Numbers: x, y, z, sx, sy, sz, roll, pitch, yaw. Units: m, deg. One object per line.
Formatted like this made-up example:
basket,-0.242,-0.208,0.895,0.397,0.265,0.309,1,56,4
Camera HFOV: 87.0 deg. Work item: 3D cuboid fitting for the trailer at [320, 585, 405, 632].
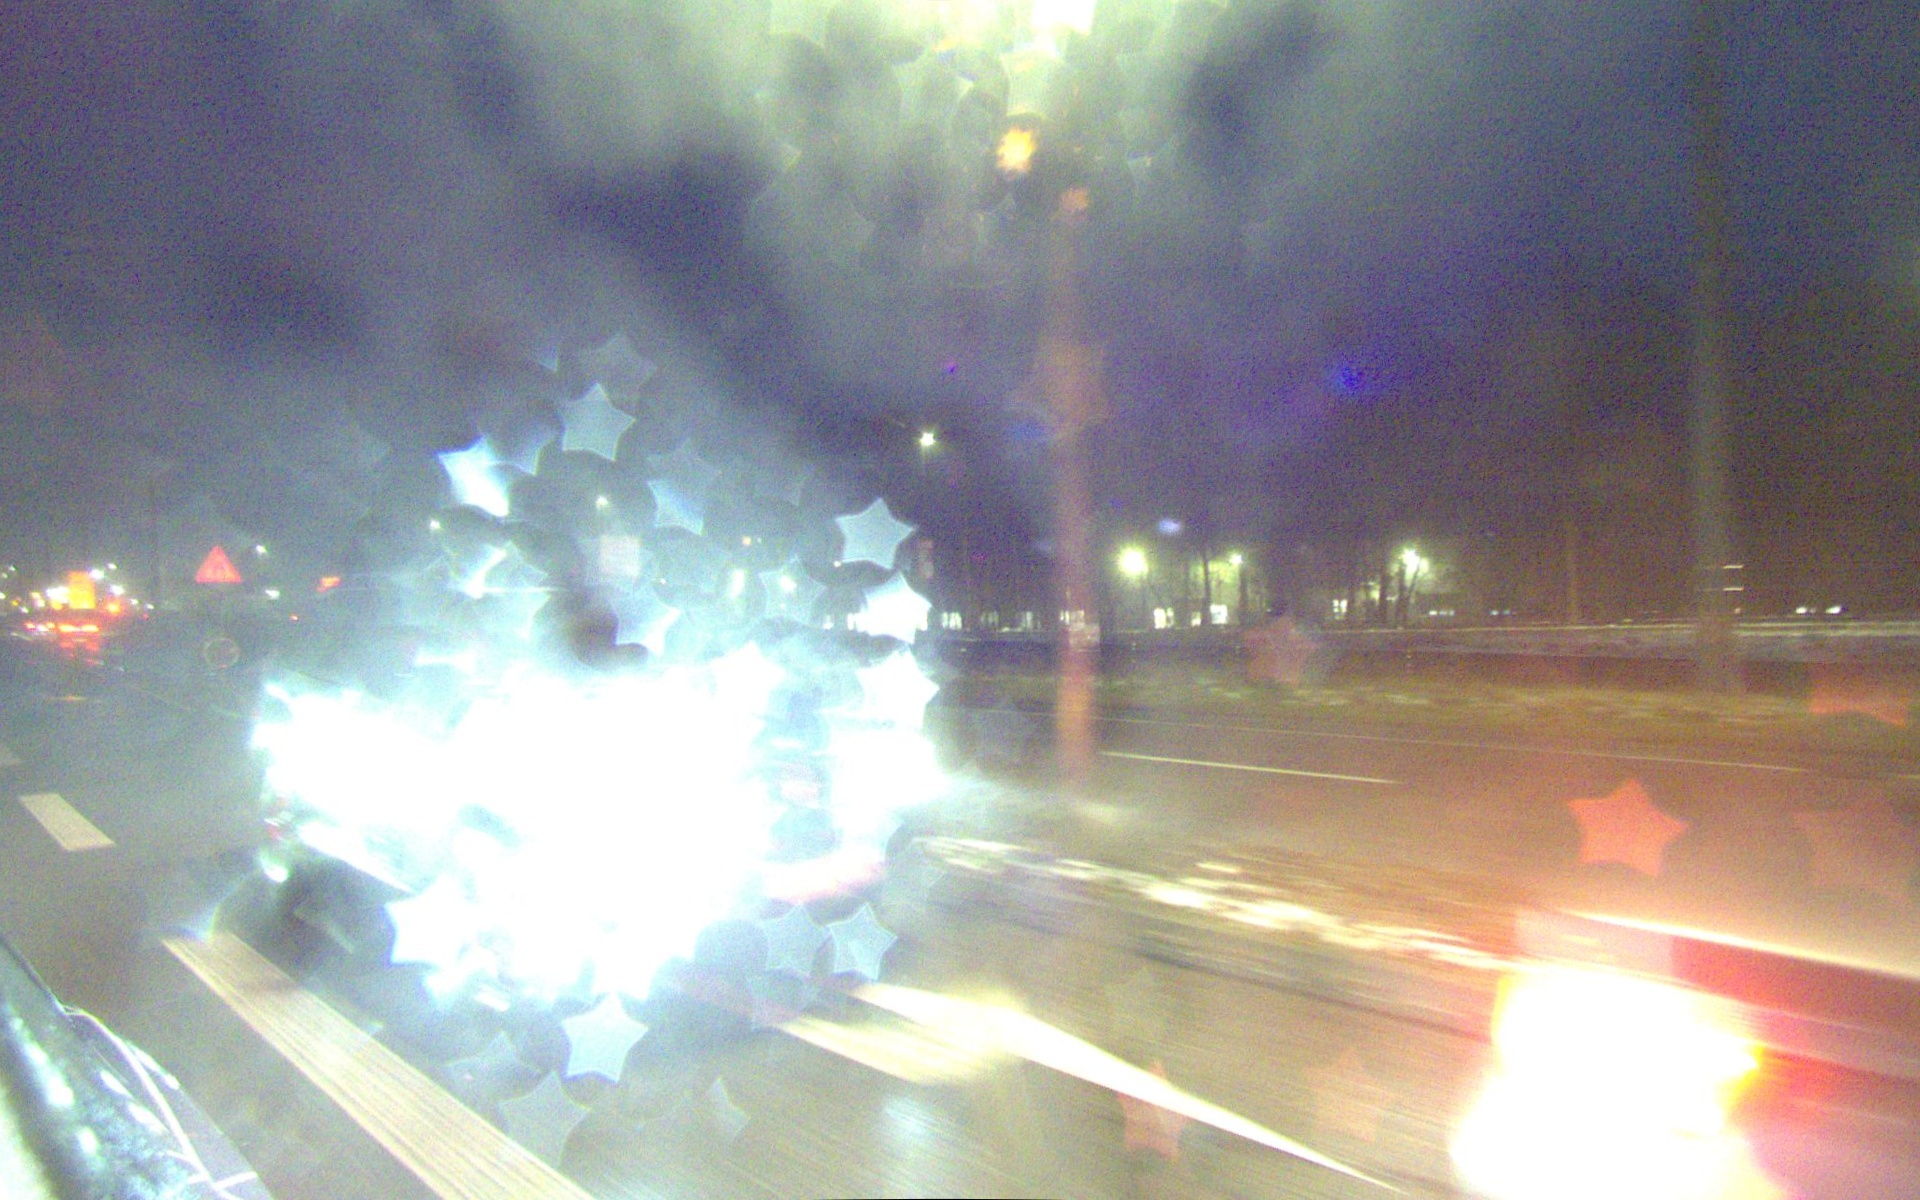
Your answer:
trailer,-66.375,0.846,112.202,15.520,4.643,3.928,0,4,44

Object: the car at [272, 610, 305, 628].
car,-68.047,1.943,102.517,4.219,1.706,1.767,-2,1,43

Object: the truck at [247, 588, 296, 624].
truck,-97.098,0.782,142.652,10.216,4.643,3.402,0,4,44

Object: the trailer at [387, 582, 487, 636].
trailer,-50.342,0.771,97.099,14.252,4.643,3.928,0,4,44

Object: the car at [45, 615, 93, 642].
car,-58.047,1.826,65.918,4.650,1.654,1.743,-1,1,41

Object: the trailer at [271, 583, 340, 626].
trailer,-84.733,0.517,130.792,14.840,5.049,3.928,0,4,44

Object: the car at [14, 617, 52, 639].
car,-72.413,2.153,79.013,4.030,1.600,1.783,-1,1,42

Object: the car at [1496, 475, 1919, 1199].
car,2.968,0.603,0.552,4.435,1.522,1.765,-2,-2,42

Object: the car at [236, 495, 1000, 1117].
car,-2.058,0.638,5.104,4.436,1.795,1.764,-2,-1,43
